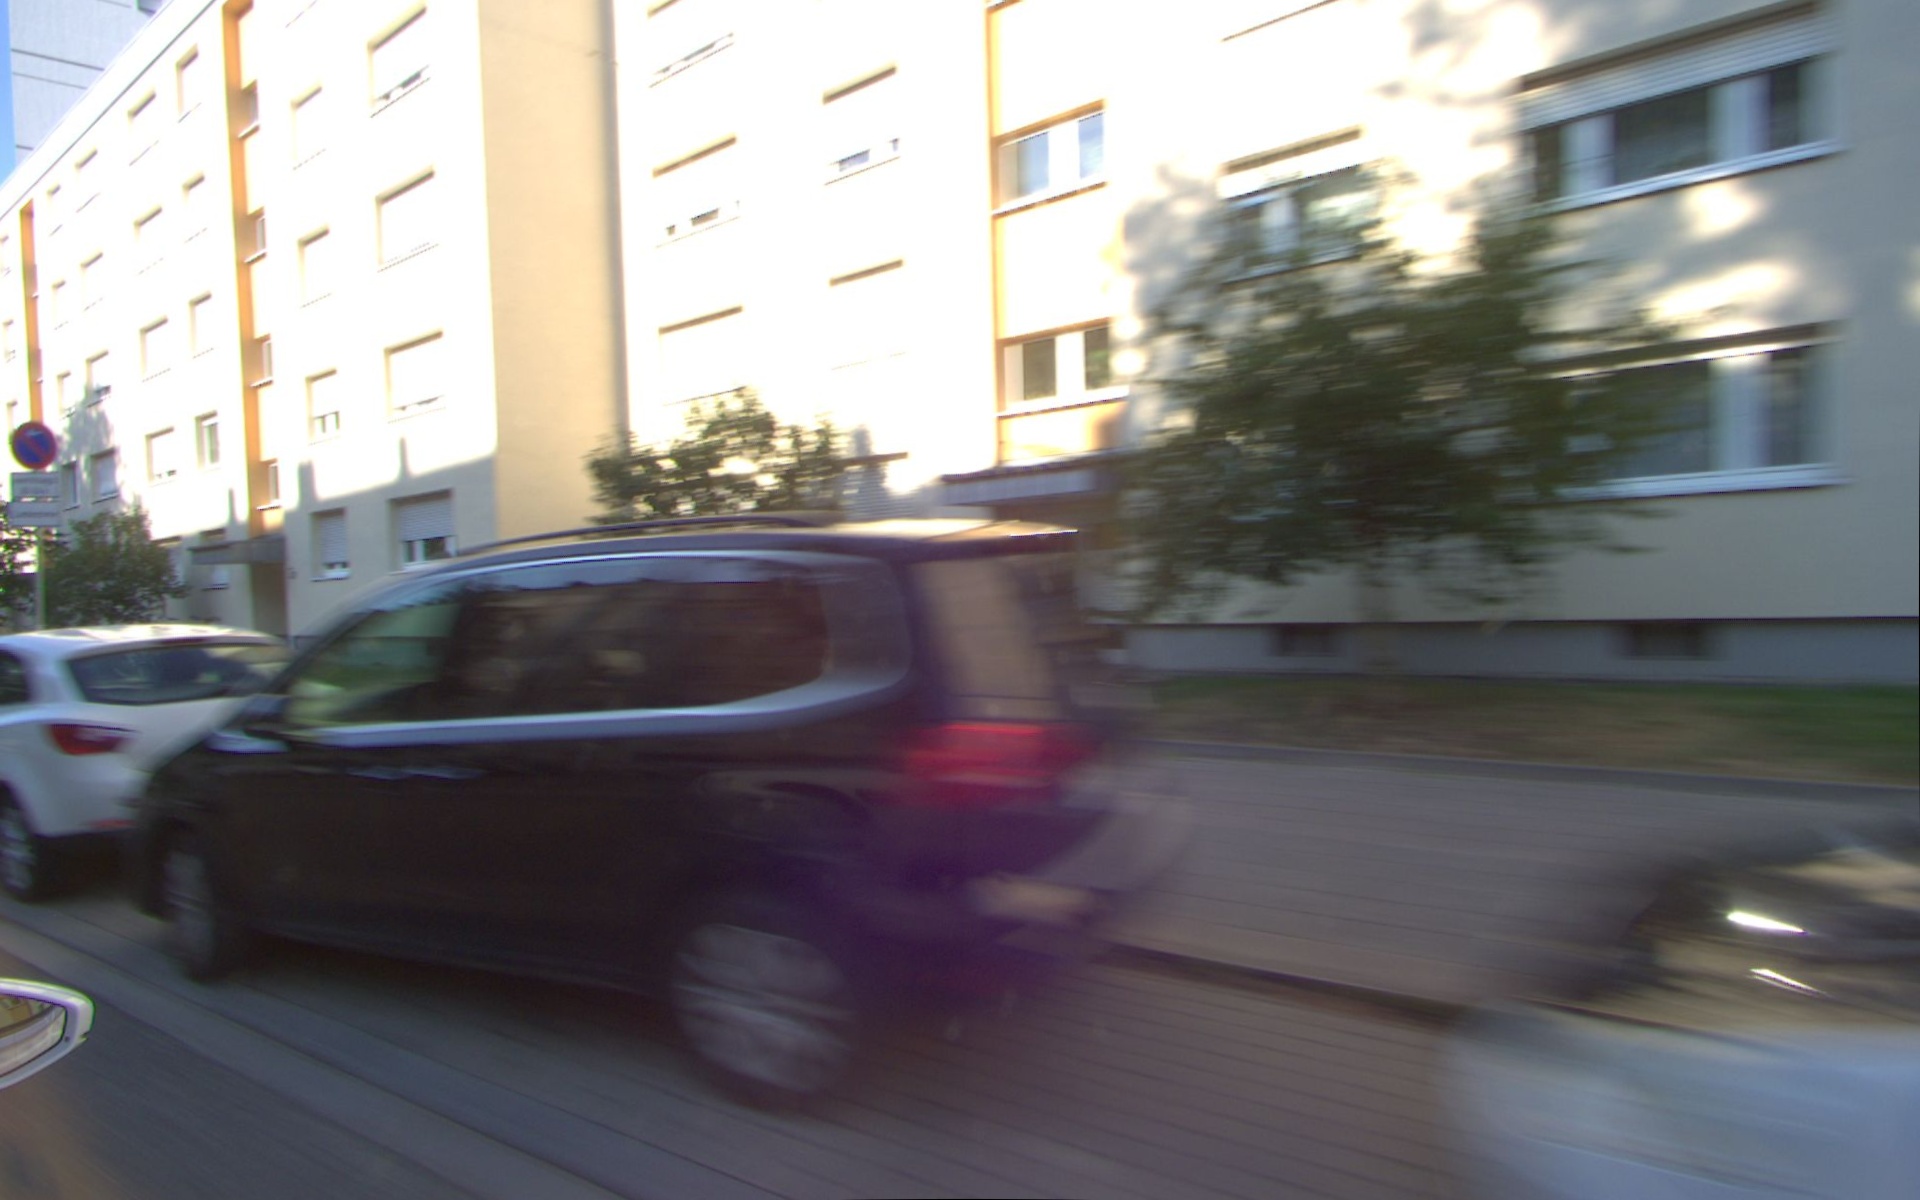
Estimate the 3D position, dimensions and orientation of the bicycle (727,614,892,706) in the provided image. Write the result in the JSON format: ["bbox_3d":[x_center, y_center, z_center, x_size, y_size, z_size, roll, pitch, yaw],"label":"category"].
[{"bbox_3d":[-2.032,0.766,13.350,2.359,1.096,0.598,0,2,33],"label":"bicycle"}]

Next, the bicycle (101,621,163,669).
[{"bbox_3d":[-18.329,1.002,22.154,1.808,1.034,0.610,-2,-2,35],"label":"bicycle"}]

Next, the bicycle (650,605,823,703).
[{"bbox_3d":[-2.803,0.625,12.439,2.359,1.096,0.598,0,2,33],"label":"bicycle"}]

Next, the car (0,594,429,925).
[{"bbox_3d":[-5.558,0.790,6.417,4.657,1.434,1.675,-2,1,32],"label":"car"}]

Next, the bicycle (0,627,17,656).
[{"bbox_3d":[-32.674,1.391,33.844,2.197,0.937,0.635,1,0,32],"label":"bicycle"}]

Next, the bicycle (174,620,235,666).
[{"bbox_3d":[-17.653,1.002,23.376,1.808,1.034,0.610,-2,-2,35],"label":"bicycle"}]

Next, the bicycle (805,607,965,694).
[{"bbox_3d":[-1.082,0.671,14.057,2.359,1.096,0.598,0,2,33],"label":"bicycle"}]

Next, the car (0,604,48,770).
[{"bbox_3d":[-10.683,0.865,9.774,3.985,1.514,1.602,-2,0,32],"label":"car"}]

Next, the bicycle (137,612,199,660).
[{"bbox_3d":[-18.012,0.826,22.755,1.808,1.034,0.610,-2,-2,35],"label":"bicycle"}]

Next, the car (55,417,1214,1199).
[{"bbox_3d":[-1.571,0.506,4.203,4.699,1.774,2.018,-1,3,32],"label":"car"}]

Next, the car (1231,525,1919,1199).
[{"bbox_3d":[2.654,0.604,1.164,4.115,1.522,1.831,-2,3,34],"label":"car"}]
